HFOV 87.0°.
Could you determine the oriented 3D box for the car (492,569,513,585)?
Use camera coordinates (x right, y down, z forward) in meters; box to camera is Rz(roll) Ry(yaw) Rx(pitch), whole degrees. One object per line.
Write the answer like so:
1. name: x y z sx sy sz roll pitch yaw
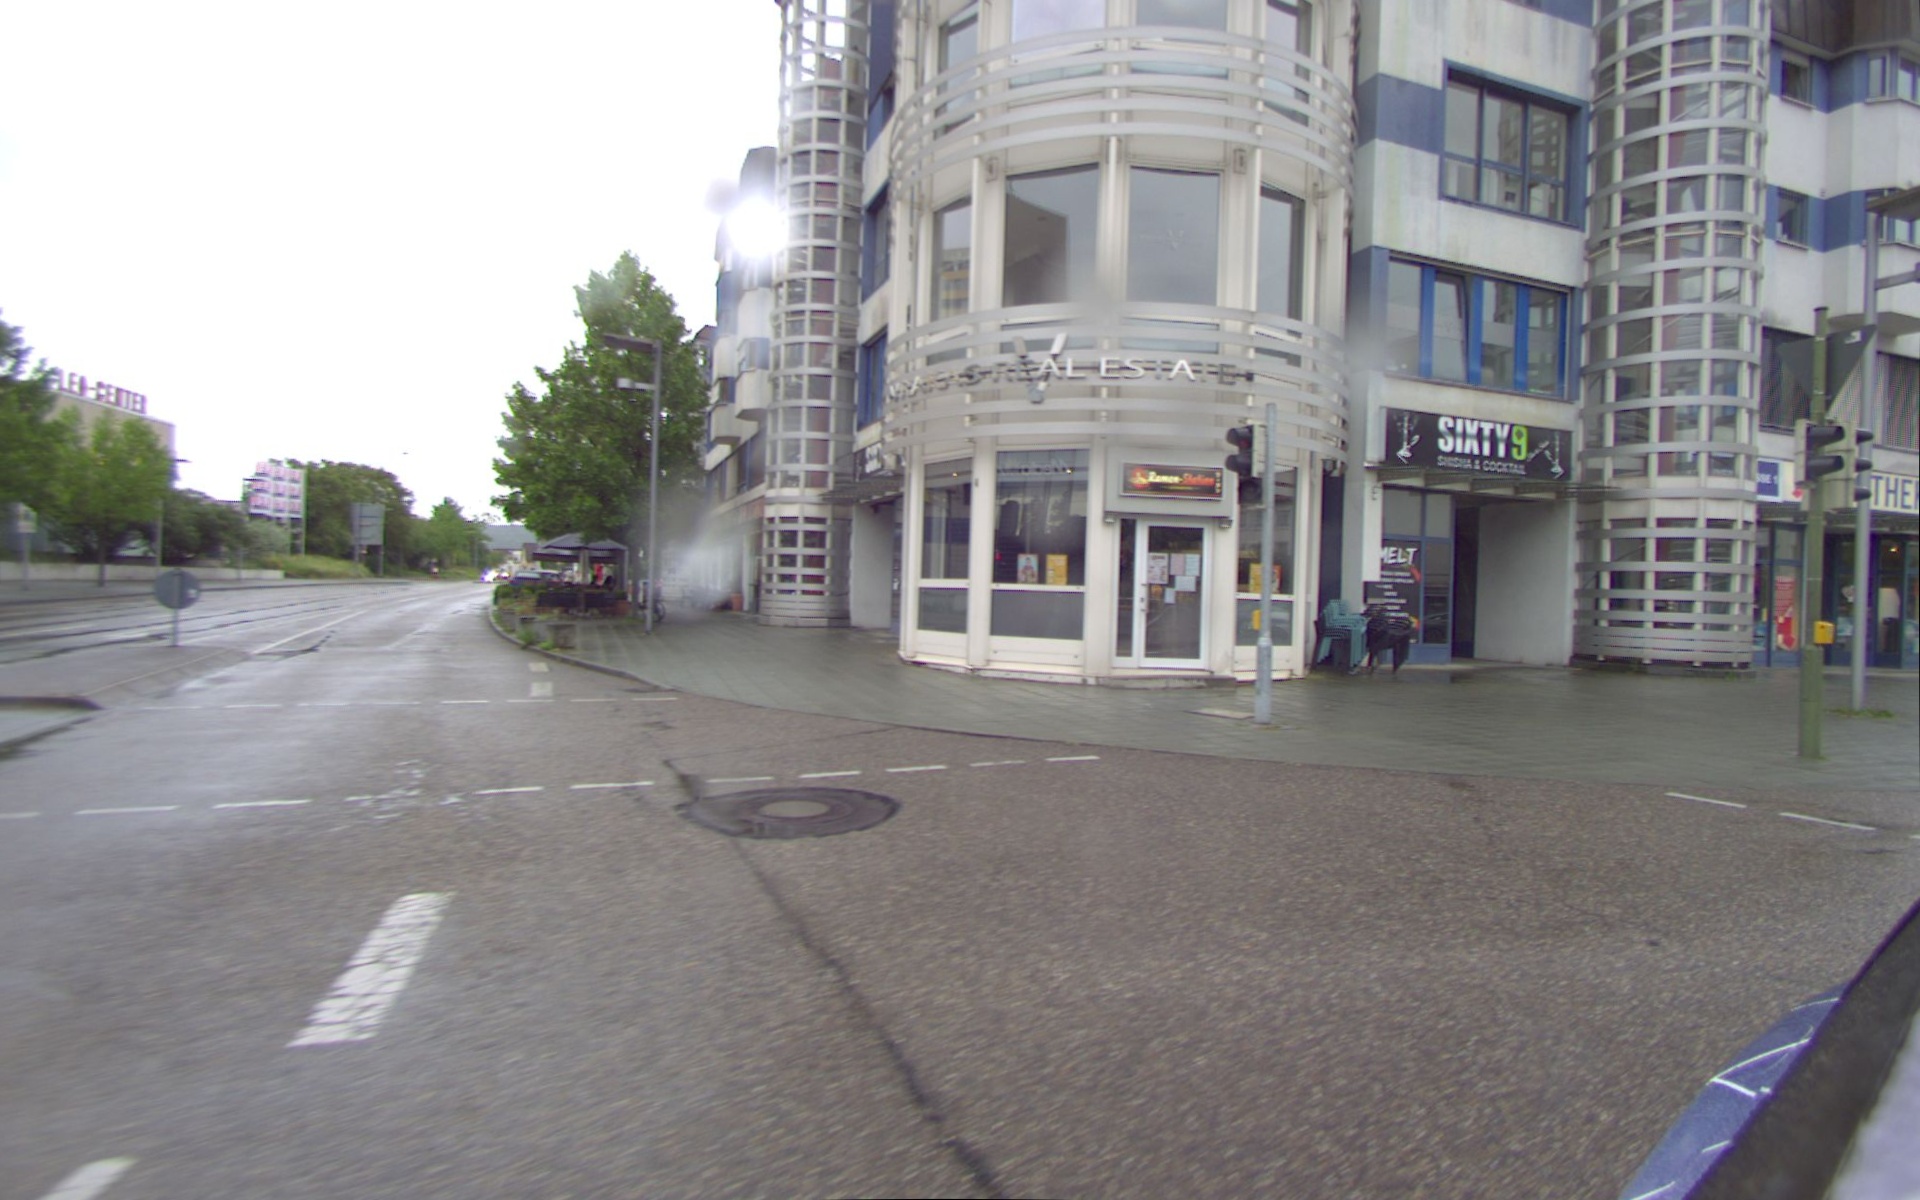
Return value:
1. car: -55.727 -2.799 123.288 1.958 1.798 4.008 0 -1 -18
